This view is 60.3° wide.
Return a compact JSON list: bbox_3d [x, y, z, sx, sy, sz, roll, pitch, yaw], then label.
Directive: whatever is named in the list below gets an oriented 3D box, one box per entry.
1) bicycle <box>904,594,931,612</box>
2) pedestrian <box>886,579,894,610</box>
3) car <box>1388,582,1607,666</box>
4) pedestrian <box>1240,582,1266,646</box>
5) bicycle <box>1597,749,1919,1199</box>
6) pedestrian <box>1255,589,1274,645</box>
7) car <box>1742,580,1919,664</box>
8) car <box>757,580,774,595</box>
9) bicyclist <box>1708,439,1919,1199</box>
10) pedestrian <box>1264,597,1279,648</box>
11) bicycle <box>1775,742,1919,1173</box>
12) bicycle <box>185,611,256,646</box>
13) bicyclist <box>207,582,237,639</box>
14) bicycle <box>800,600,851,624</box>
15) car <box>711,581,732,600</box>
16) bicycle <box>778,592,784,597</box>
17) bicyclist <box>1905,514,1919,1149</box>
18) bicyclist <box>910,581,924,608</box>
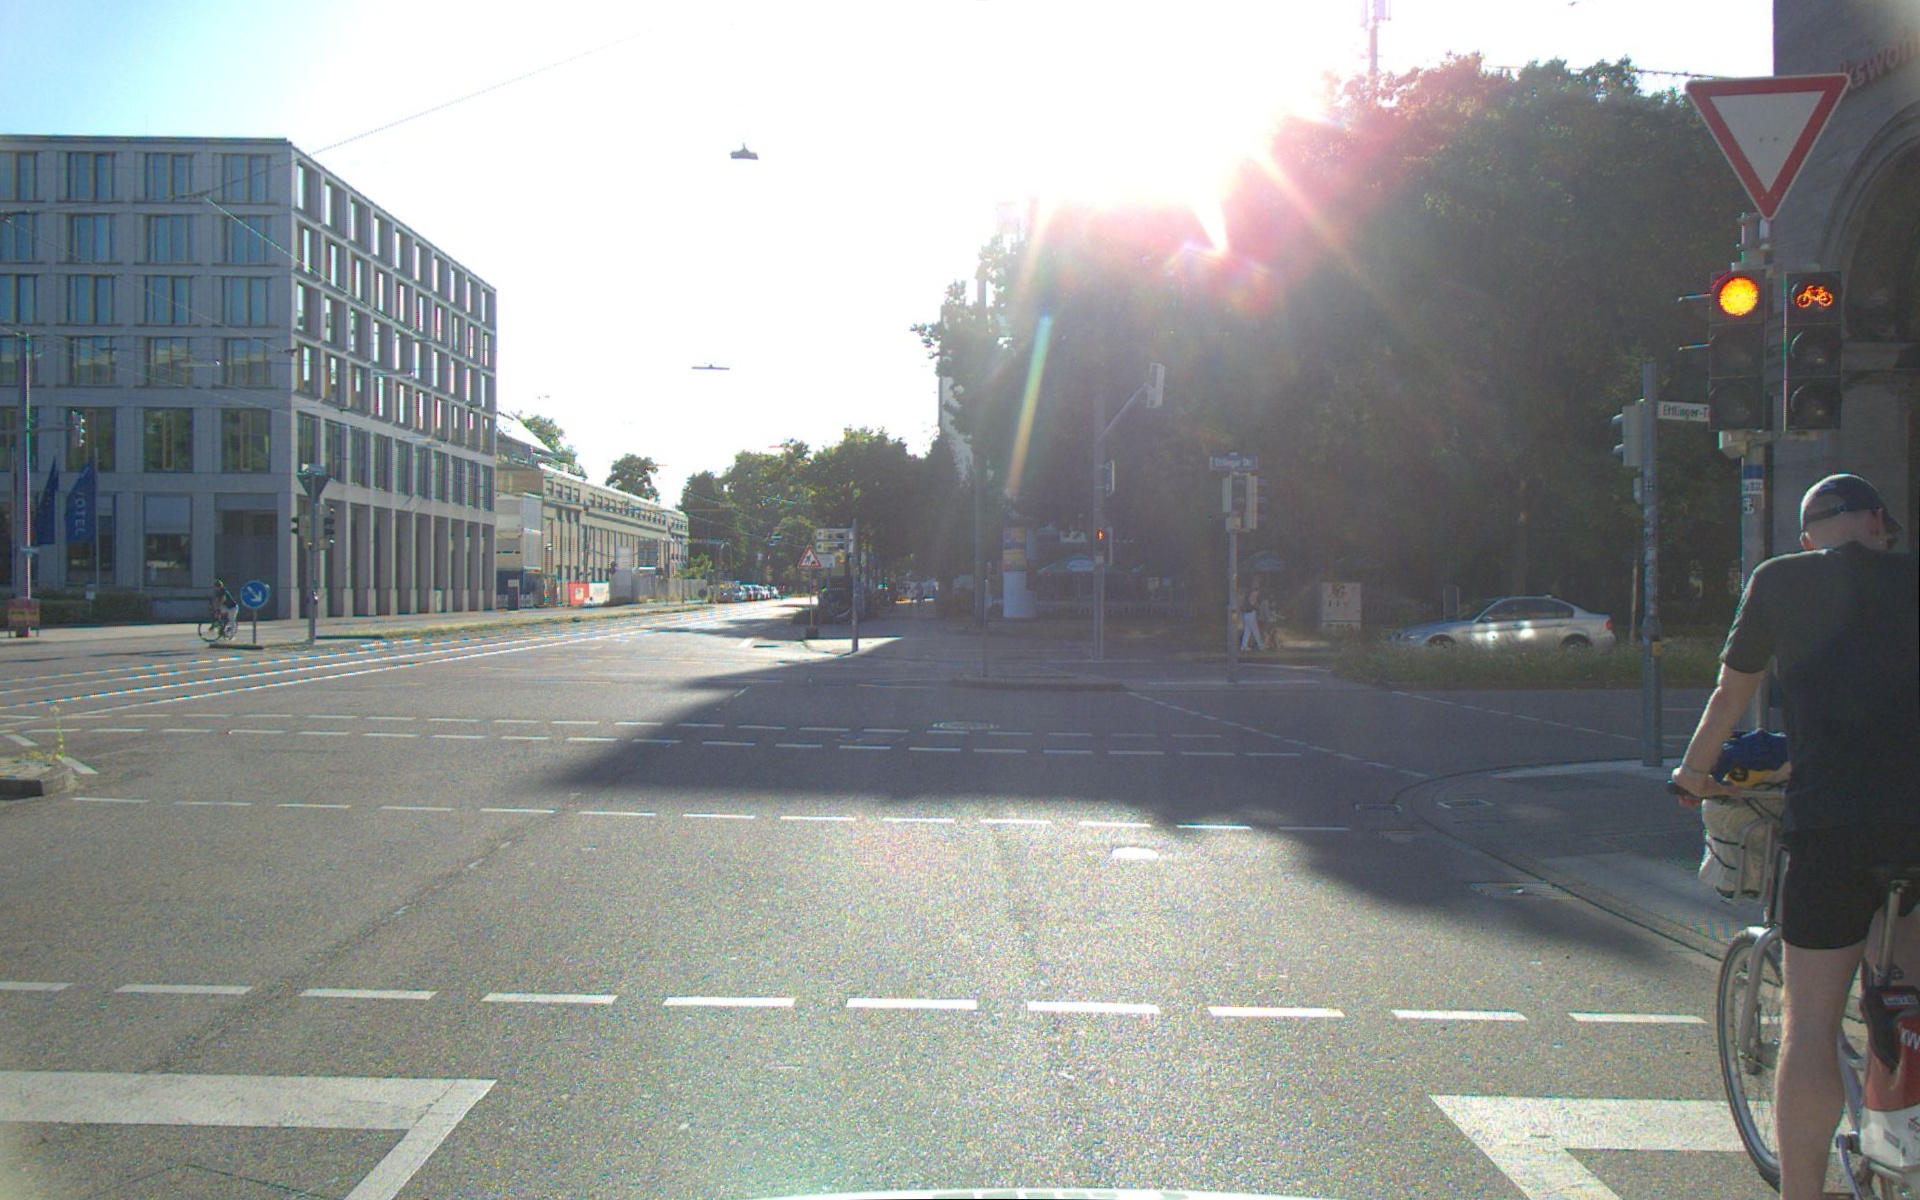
[{"bbox_3d":[-2.701,0.181,105.070,1.798,1.096,0.573,0,0,43],"label":"bicycle"},{"bbox_3d":[-4.158,-0.319,98.270,0.454,1.845,0.502,0,0,-5],"label":"pedestrian"},{"bbox_3d":[10.860,0.478,33.568,3.912,1.639,1.650,0,0,-1],"label":"car"},{"bbox_3d":[7.830,0.361,44.210,0.571,1.692,0.514,1,1,1],"label":"pedestrian"},{"bbox_3d":[2.075,0.983,3.893,0.505,1.096,1.728,1,0,1],"label":"bicycle"},{"bbox_3d":[8.221,0.456,44.703,0.430,1.529,0.437,0,0,0],"label":"pedestrian"},{"bbox_3d":[18.154,0.428,33.579,3.770,1.639,1.650,0,0,-1],"label":"car"},{"bbox_3d":[-22.839,-1.439,194.363,1.659,1.748,4.244,1,0,-4],"label":"car"},{"bbox_3d":[2.094,0.581,3.735,0.547,1.830,0.550,1,0,1],"label":"bicyclist"},{"bbox_3d":[8.204,0.589,43.569,0.310,1.339,0.345,1,1,1],"label":"pedestrian"},{"bbox_3d":[2.863,1.002,4.341,0.523,1.096,1.750,1,0,-2],"label":"bicycle"},{"bbox_3d":[-21.145,0.800,47.296,1.834,0.951,0.757,0,0,-25],"label":"bicycle"},{"bbox_3d":[-21.103,0.297,47.299,0.764,1.617,0.756,0,0,-23],"label":"bicyclist"},{"bbox_3d":[-5.488,0.507,67.386,1.976,0.907,0.650,-2,-1,27],"label":"bicycle"},{"bbox_3d":[-22.478,-0.901,156.114,1.659,1.748,4.244,1,0,-4],"label":"car"},{"bbox_3d":[-18.253,-0.535,169.041,0.491,0.524,1.257,1,0,-2],"label":"bicycle"},{"bbox_3d":[2.887,0.630,4.234,0.546,1.721,0.640,1,0,-2],"label":"bicyclist"},{"bbox_3d":[-2.713,-0.335,105.072,0.687,1.721,0.568,0,0,41],"label":"bicyclist"}]
